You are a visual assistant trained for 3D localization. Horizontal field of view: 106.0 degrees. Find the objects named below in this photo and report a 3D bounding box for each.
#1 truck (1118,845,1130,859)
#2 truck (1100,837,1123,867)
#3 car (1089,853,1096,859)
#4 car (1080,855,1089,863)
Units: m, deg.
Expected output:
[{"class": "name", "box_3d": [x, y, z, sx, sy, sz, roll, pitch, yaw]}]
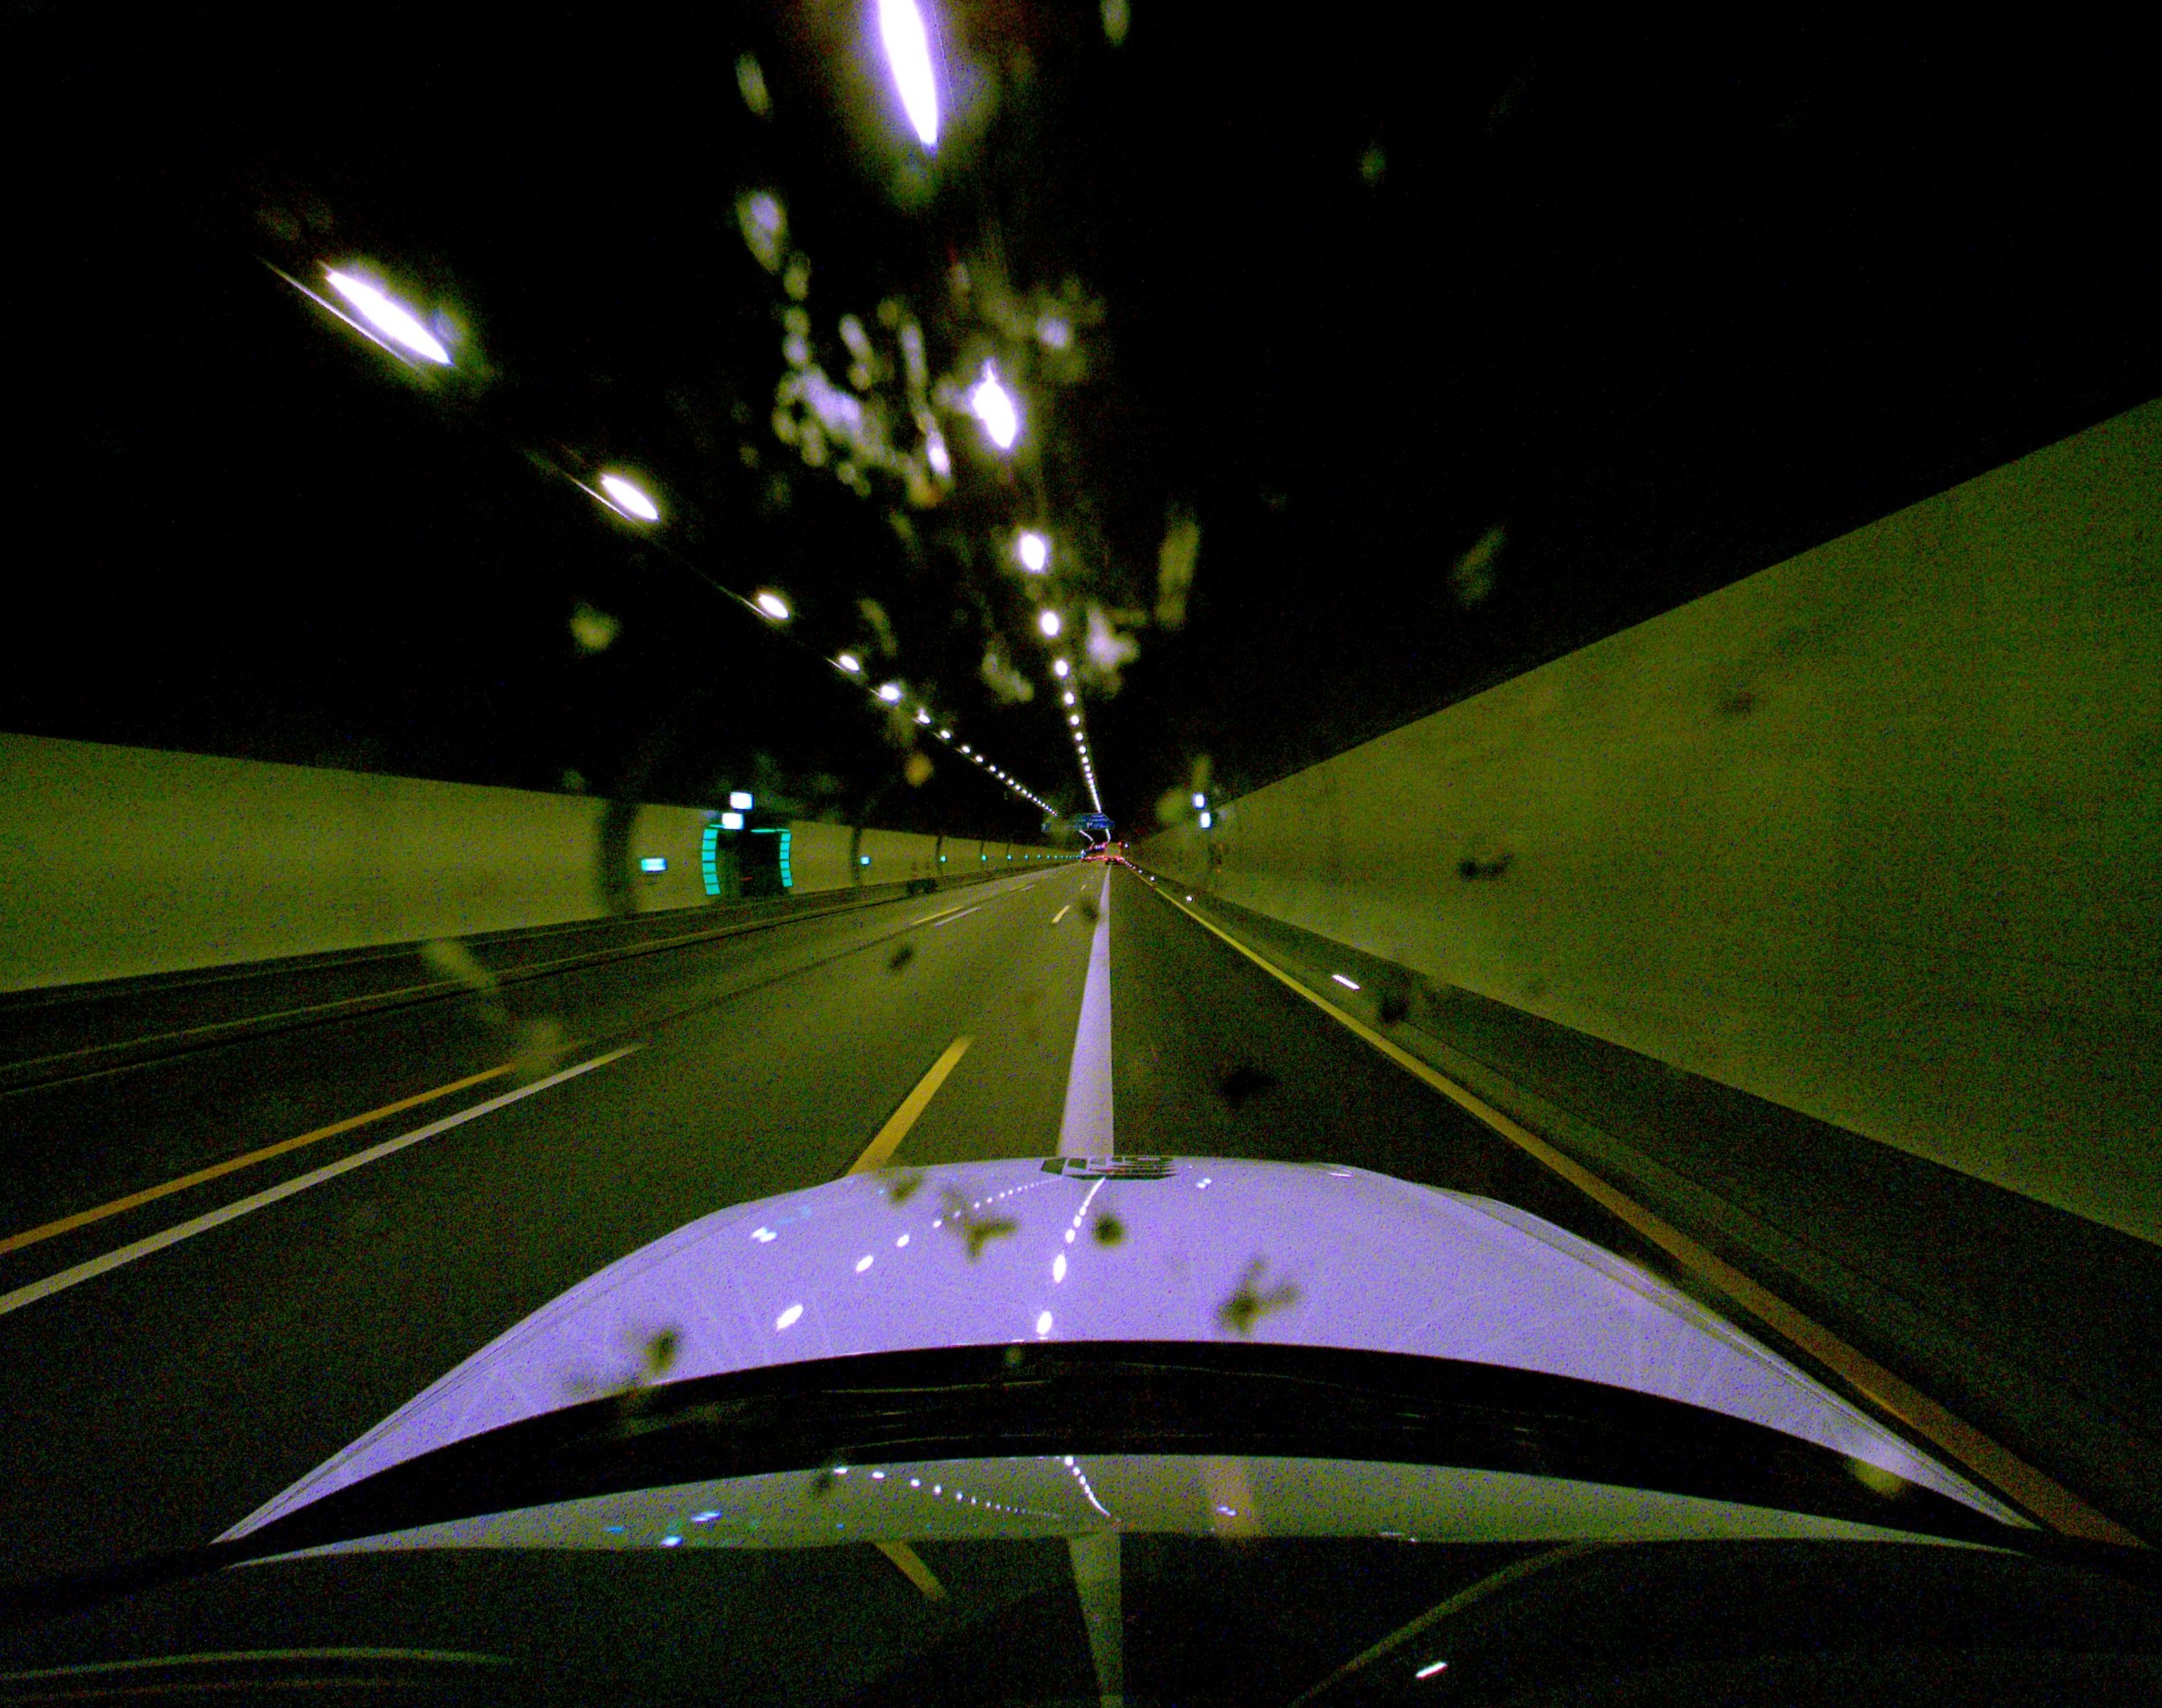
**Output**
[{"class": "truck", "box_3d": [13.040, -0.741, 250.087, 2.913, 4.047, 14.030, -3, 0, 1]}, {"class": "truck", "box_3d": [5.103, -0.334, 138.596, 3.268, 4.650, 17.286, -3, 0, 0]}, {"class": "car", "box_3d": [3.268, 0.448, 225.708, 1.808, 1.520, 3.998, -1, 2, -1]}, {"class": "car", "box_3d": [0.780, 0.952, 168.535, 1.807, 1.618, 3.999, -1, 0, 0]}]
